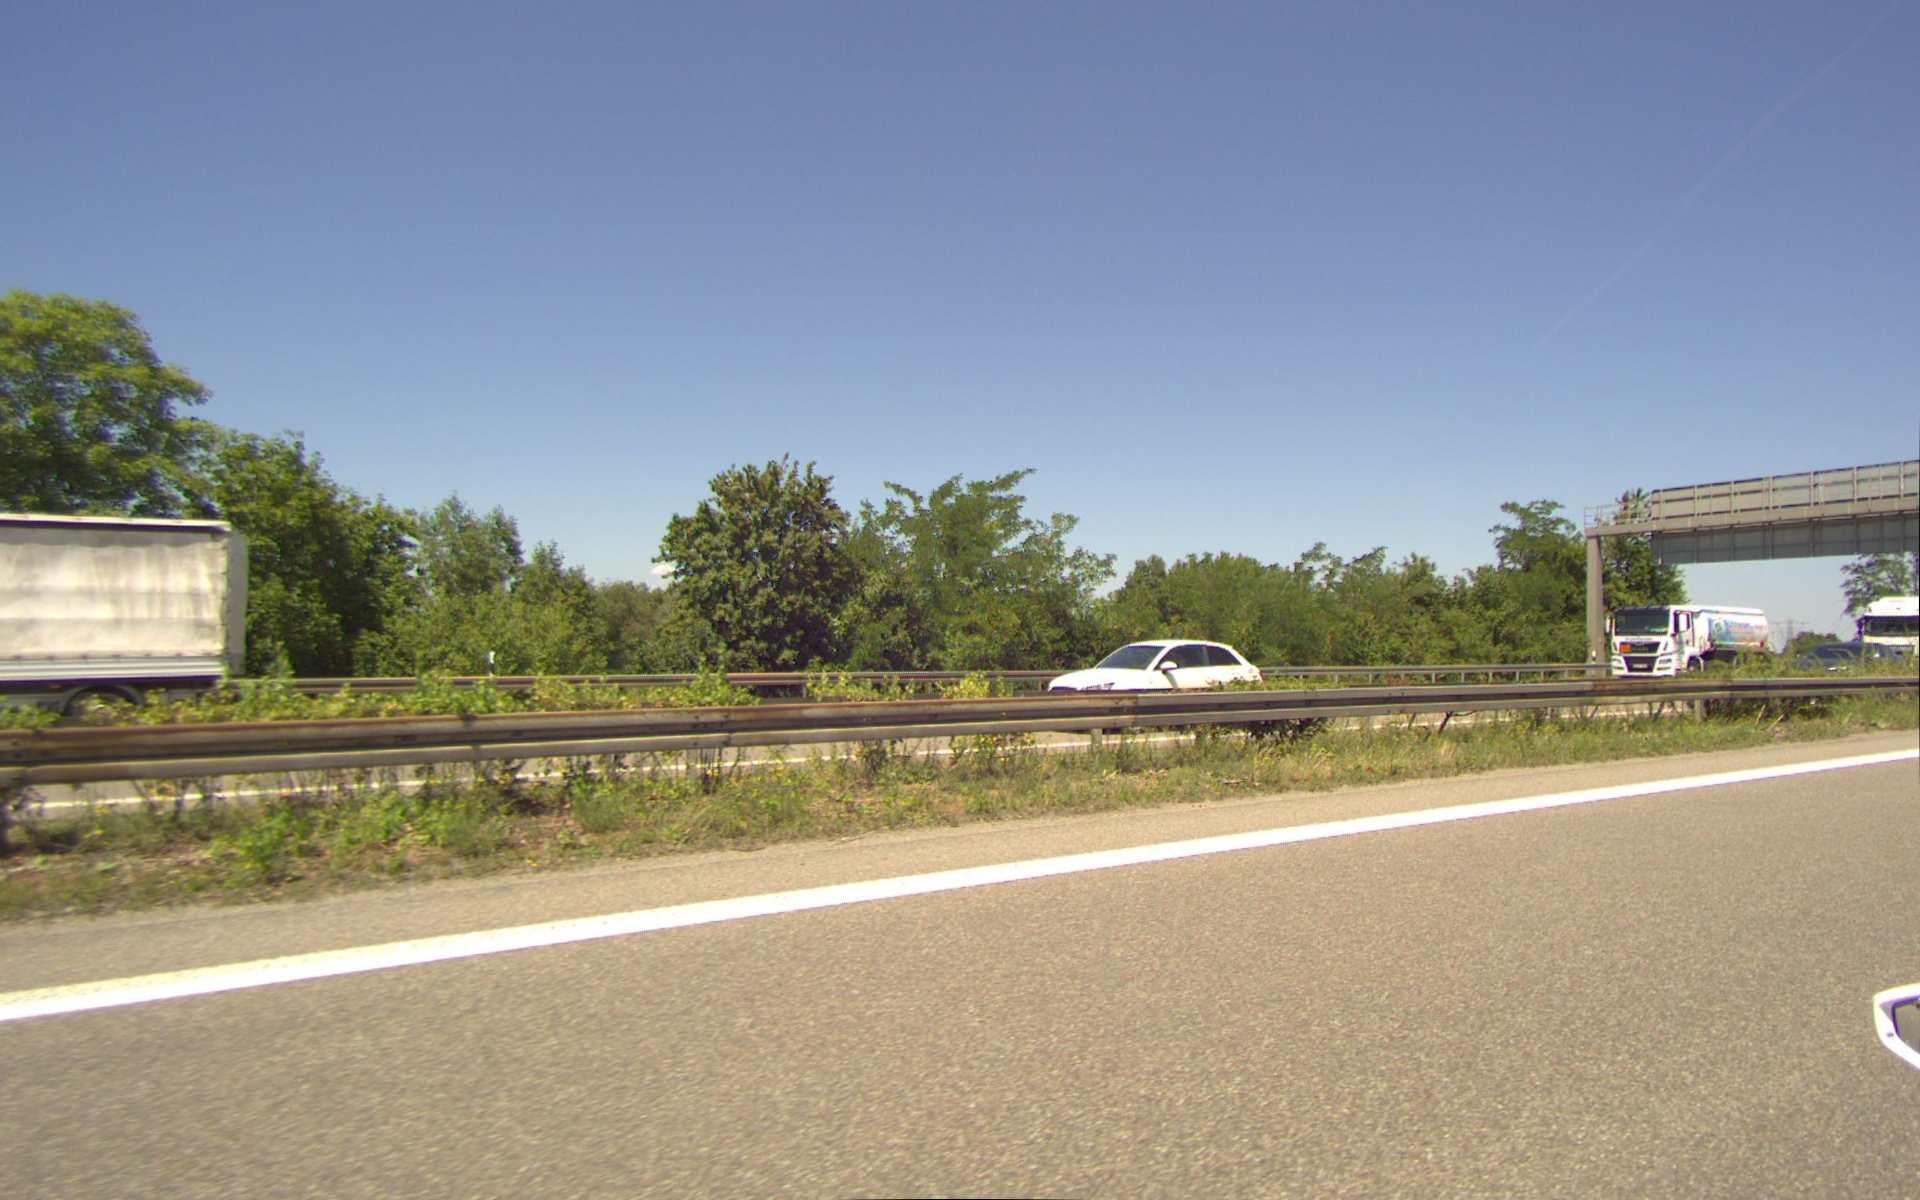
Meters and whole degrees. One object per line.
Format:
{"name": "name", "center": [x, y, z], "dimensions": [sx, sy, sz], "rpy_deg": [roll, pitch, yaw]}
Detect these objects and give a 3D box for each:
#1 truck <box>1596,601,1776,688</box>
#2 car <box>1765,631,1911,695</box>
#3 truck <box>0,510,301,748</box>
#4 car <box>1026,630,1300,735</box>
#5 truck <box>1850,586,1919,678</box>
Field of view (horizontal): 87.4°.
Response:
{"name": "truck", "center": [29.808, 1.807, 41.110], "dimensions": [8.820, 3.250, 2.699], "rpy_deg": [2, -2, -30]}
{"name": "car", "center": [25.645, 1.798, 29.323], "dimensions": [4.193, 1.757, 1.984], "rpy_deg": [2, -2, -31]}
{"name": "truck", "center": [-14.860, 0.448, 15.752], "dimensions": [7.335, 3.510, 2.358], "rpy_deg": [1, -2, -30]}
{"name": "car", "center": [3.373, 1.274, 16.506], "dimensions": [4.193, 1.529, 1.984], "rpy_deg": [2, -2, -31]}
{"name": "truck", "center": [53.452, 1.796, 54.380], "dimensions": [17.123, 4.447, 2.699], "rpy_deg": [2, -2, -30]}
